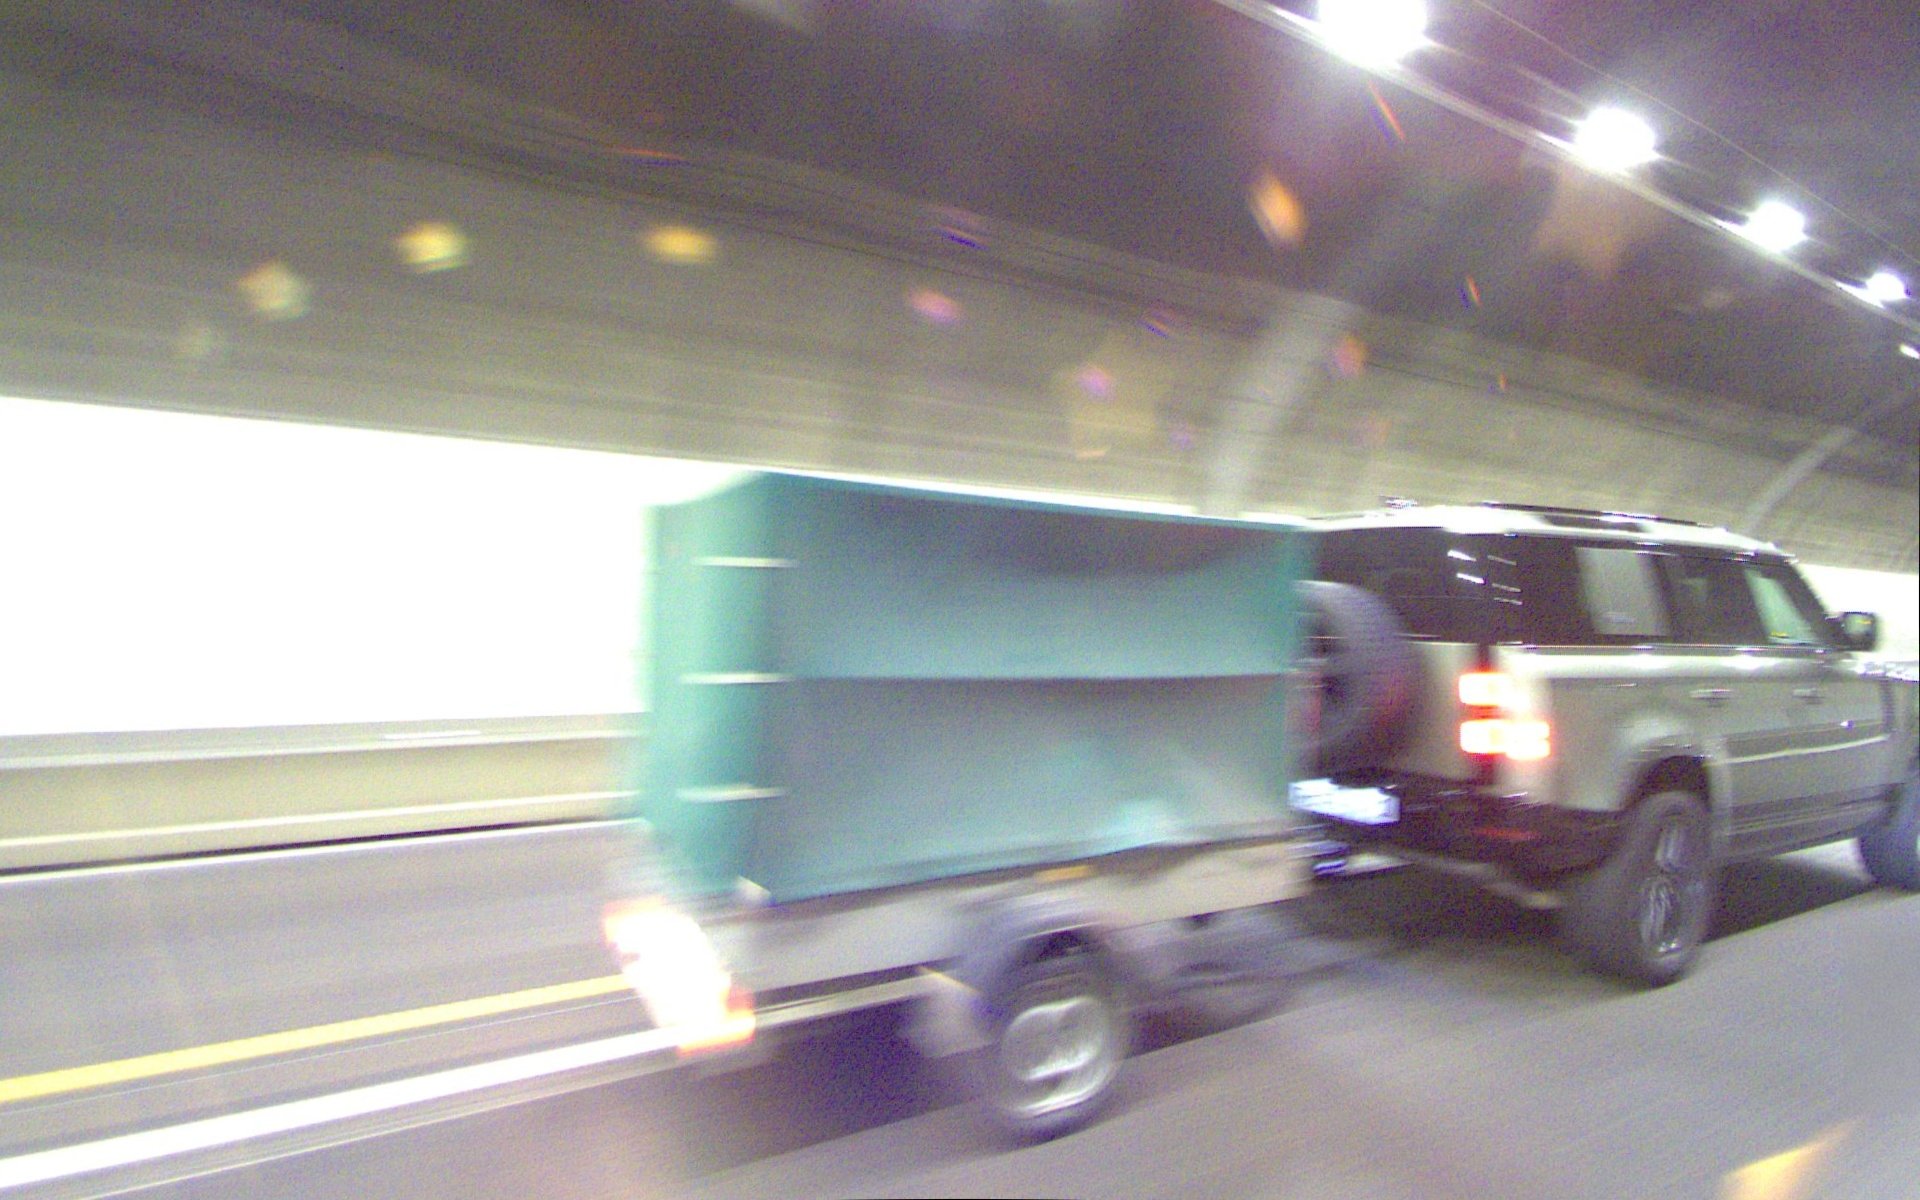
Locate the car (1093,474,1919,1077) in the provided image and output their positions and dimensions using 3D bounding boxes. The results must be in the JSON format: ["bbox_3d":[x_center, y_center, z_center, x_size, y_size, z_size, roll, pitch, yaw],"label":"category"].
[{"bbox_3d":[3.461,0.618,5.462,5.391,1.920,1.983,1,-1,-31],"label":"car"}]
